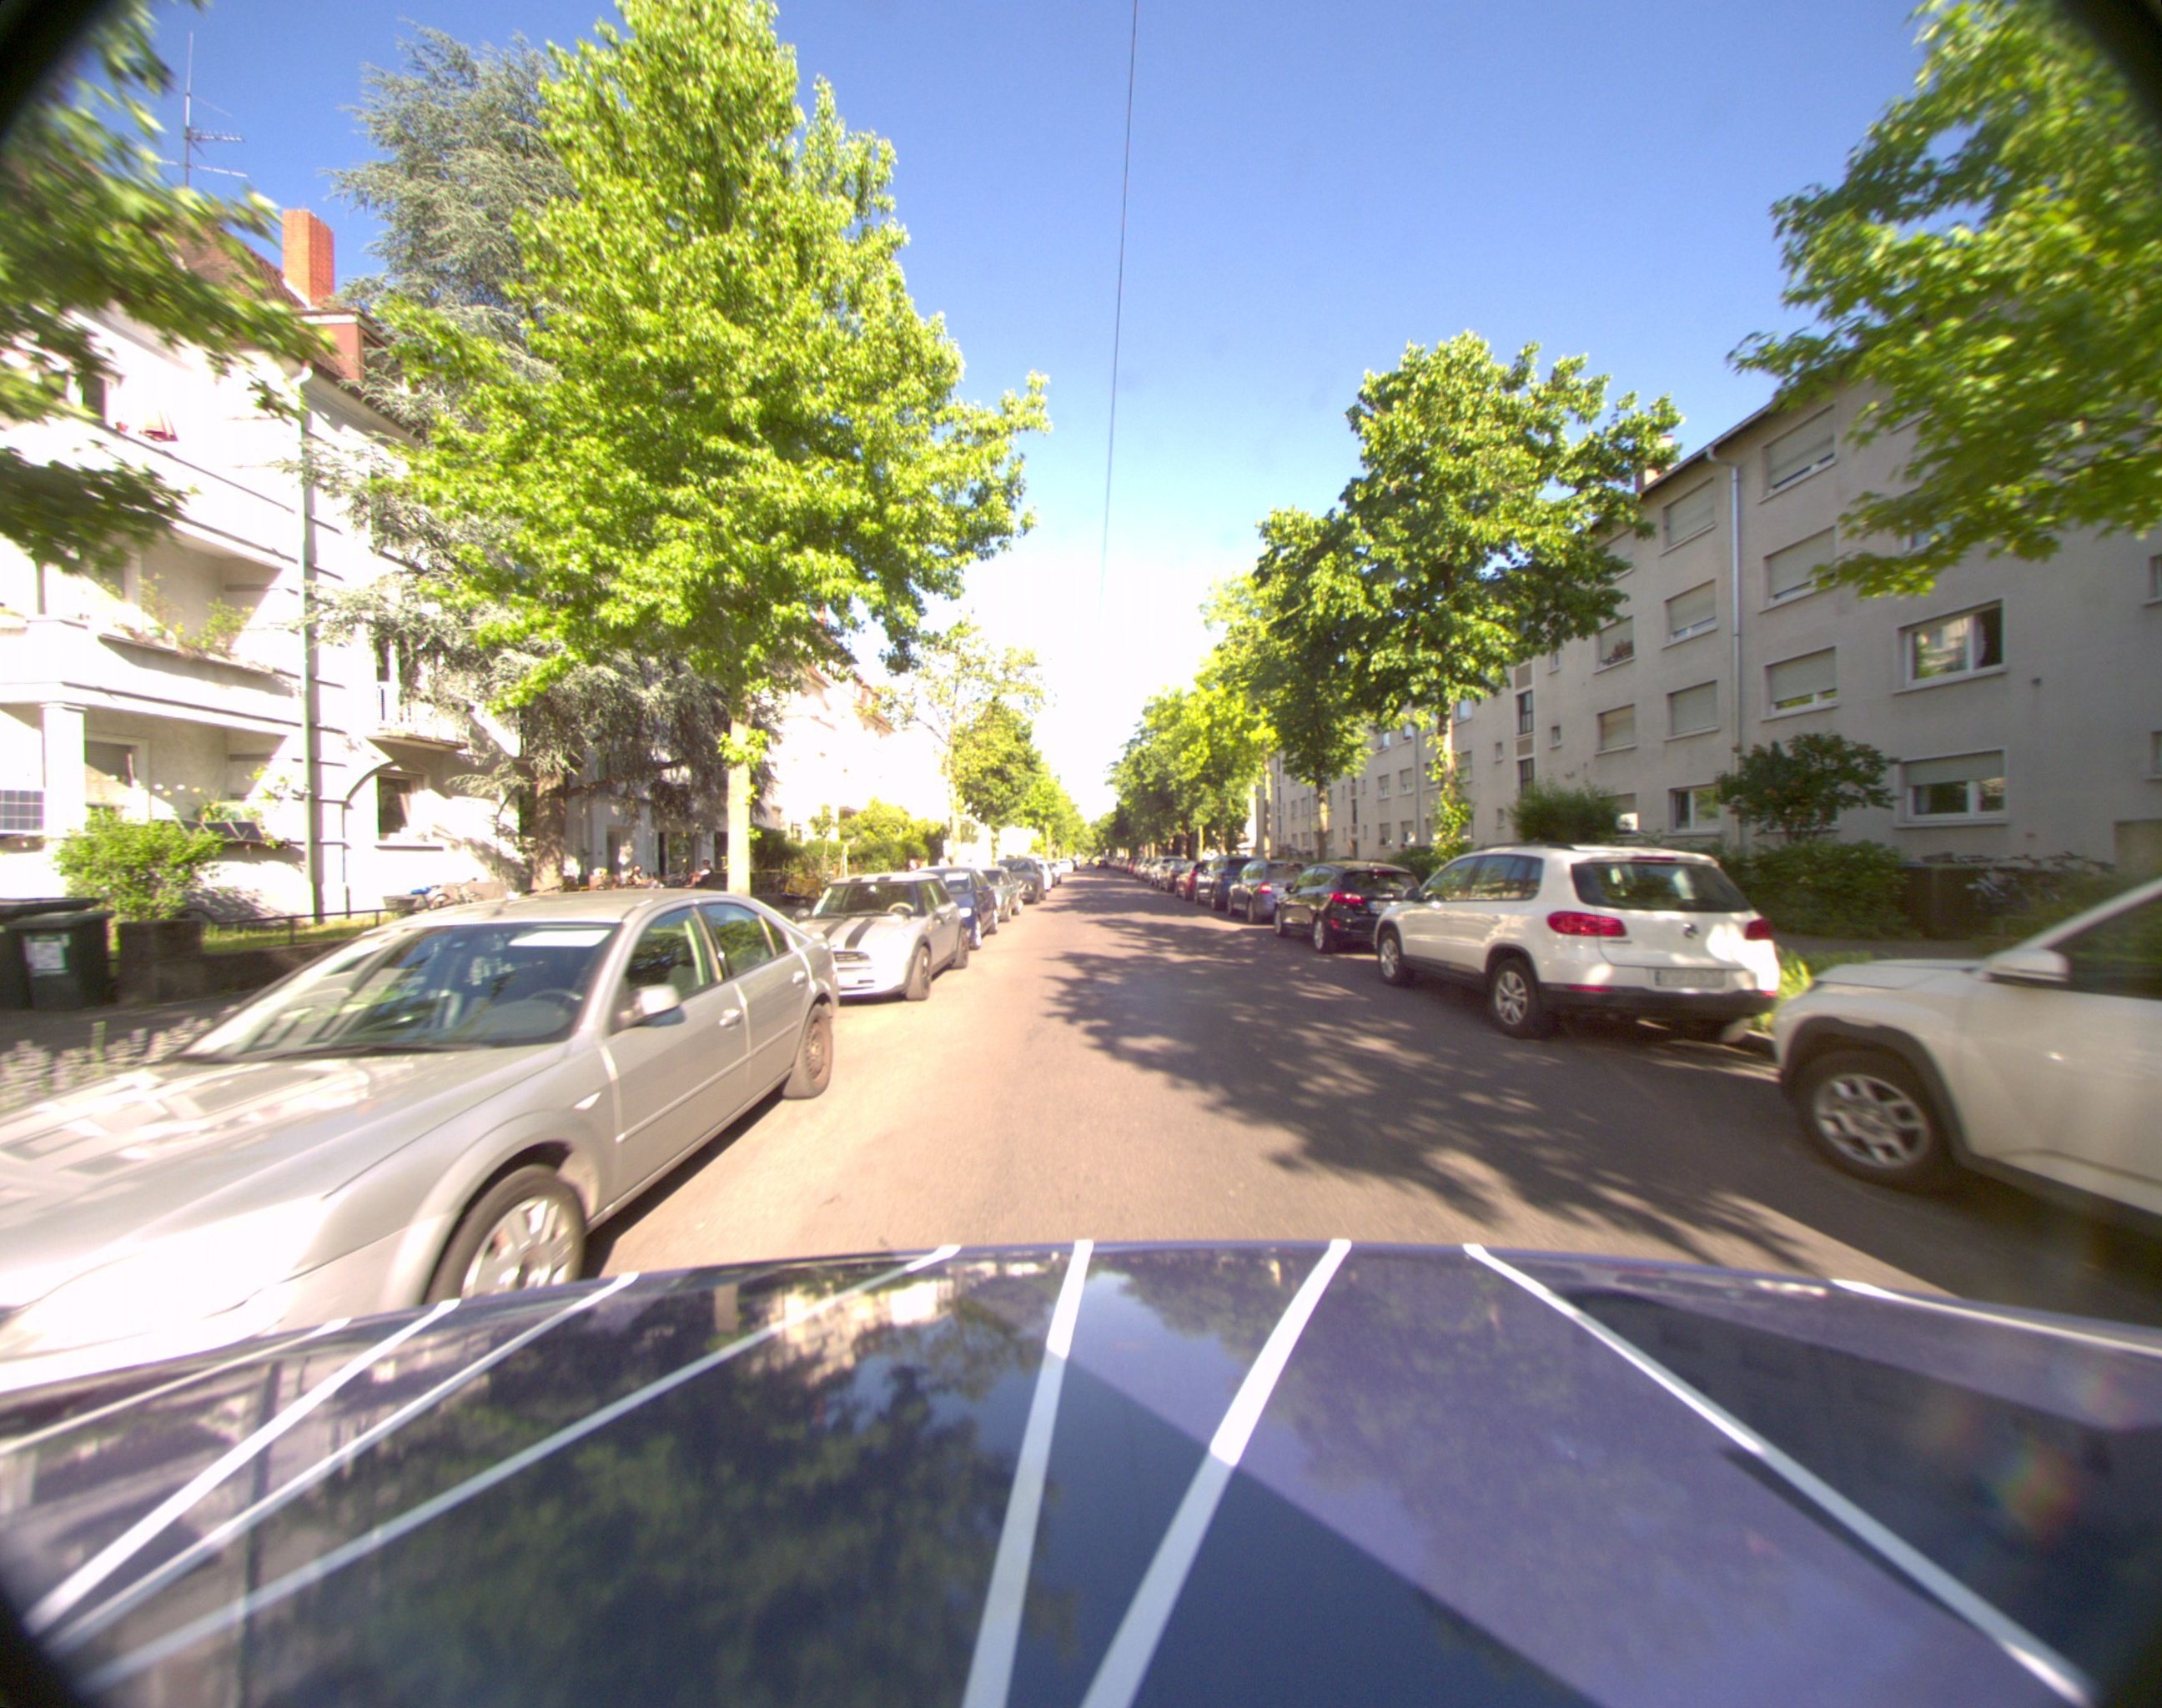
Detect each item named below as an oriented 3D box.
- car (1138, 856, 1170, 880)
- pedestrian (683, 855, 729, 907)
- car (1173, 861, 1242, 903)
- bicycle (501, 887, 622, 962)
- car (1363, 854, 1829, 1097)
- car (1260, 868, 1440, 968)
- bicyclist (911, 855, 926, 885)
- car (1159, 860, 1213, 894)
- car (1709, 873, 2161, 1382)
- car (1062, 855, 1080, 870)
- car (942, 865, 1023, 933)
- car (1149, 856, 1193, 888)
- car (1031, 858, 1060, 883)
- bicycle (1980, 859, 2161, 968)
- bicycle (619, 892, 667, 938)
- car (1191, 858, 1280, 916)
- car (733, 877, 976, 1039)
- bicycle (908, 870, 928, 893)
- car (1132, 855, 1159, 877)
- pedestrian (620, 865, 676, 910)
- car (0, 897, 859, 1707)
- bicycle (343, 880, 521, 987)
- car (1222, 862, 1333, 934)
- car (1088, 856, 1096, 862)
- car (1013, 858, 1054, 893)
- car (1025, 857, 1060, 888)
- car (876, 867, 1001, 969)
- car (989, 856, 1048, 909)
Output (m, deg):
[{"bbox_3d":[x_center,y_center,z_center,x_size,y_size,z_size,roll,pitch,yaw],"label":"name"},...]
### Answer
[{"bbox_3d":[4.933,0.932,51.987,1.768,1.486,4.015,-3,1,0],"label":"car"},{"bbox_3d":[-10.230,0.727,20.726,1.038,1.370,0.714,-1,1,-35],"label":"pedestrian"},{"bbox_3d":[4.582,0.980,28.110,1.879,1.367,4.068,0,1,0],"label":"car"},{"bbox_3d":[-8.759,1.147,12.941,0.433,1.006,2.248,-6,1,-1],"label":"bicycle"},{"bbox_3d":[4.398,0.858,7.456,1.707,1.670,4.223,0,1,0],"label":"car"},{"bbox_3d":[4.472,0.981,13.323,1.662,1.384,4.237,-1,0,0],"label":"car"},{"bbox_3d":[-7.255,0.711,33.853,0.497,1.331,0.719,1,1,1],"label":"bicyclist"},{"bbox_3d":[4.709,0.998,34.663,1.879,1.367,4.183,0,1,0],"label":"car"},{"bbox_3d":[4.345,0.922,2.188,1.721,1.517,3.999,-3,1,0],"label":"car"},{"bbox_3d":[-1.075,0.911,83.424,1.891,1.624,3.889,-1,0,1],"label":"car"},{"bbox_3d":[-2.452,1.082,19.773,1.609,1.415,4.014,-3,1,-1],"label":"car"},{"bbox_3d":[4.718,0.890,40.301,1.879,1.553,4.183,0,1,0],"label":"car"},{"bbox_3d":[-2.145,0.983,47.064,1.609,1.402,3.669,-3,1,-1],"label":"car"},{"bbox_3d":[14.400,0.825,10.782,2.270,1.400,0.721,-3,1,4],"label":"bicycle"},{"bbox_3d":[-8.745,1.203,15.205,0.331,0.845,1.050,-1,0,1],"label":"bicycle"},{"bbox_3d":[4.564,0.909,23.034,1.820,1.576,4.408,0,0,0],"label":"car"},{"bbox_3d":[-2.514,1.098,9.418,1.768,1.389,3.695,-3,1,1],"label":"car"},{"bbox_3d":[-7.239,1.196,33.739,0.459,0.956,1.787,1,1,1],"label":"bicycle"},{"bbox_3d":[5.036,0.905,59.635,1.768,1.486,4.015,-3,1,0],"label":"car"},{"bbox_3d":[-11.661,0.890,20.488,1.036,1.136,0.716,-2,1,-5],"label":"pedestrian"},{"bbox_3d":[-2.566,1.044,3.452,1.715,1.399,4.490,0,1,1],"label":"car"},{"bbox_3d":[-8.725,1.014,10.370,0.490,1.190,2.175,-3,1,0],"label":"bicycle"},{"bbox_3d":[4.538,0.965,18.117,1.653,1.436,3.967,0,1,0],"label":"car"},{"bbox_3d":[2.729,1.206,188.024,1.769,1.486,3.783,-1,0,-1],"label":"car"},{"bbox_3d":[-2.259,1.023,37.070,1.769,1.486,3.932,-3,1,-1],"label":"car"},{"bbox_3d":[-2.085,1.004,42.569,1.769,1.486,4.014,-3,1,-1],"label":"car"},{"bbox_3d":[-2.497,1.066,14.162,1.609,1.455,3.870,-3,1,-1],"label":"car"},{"bbox_3d":[-2.141,0.936,26.921,1.769,1.627,4.014,-3,1,-1],"label":"car"}]
